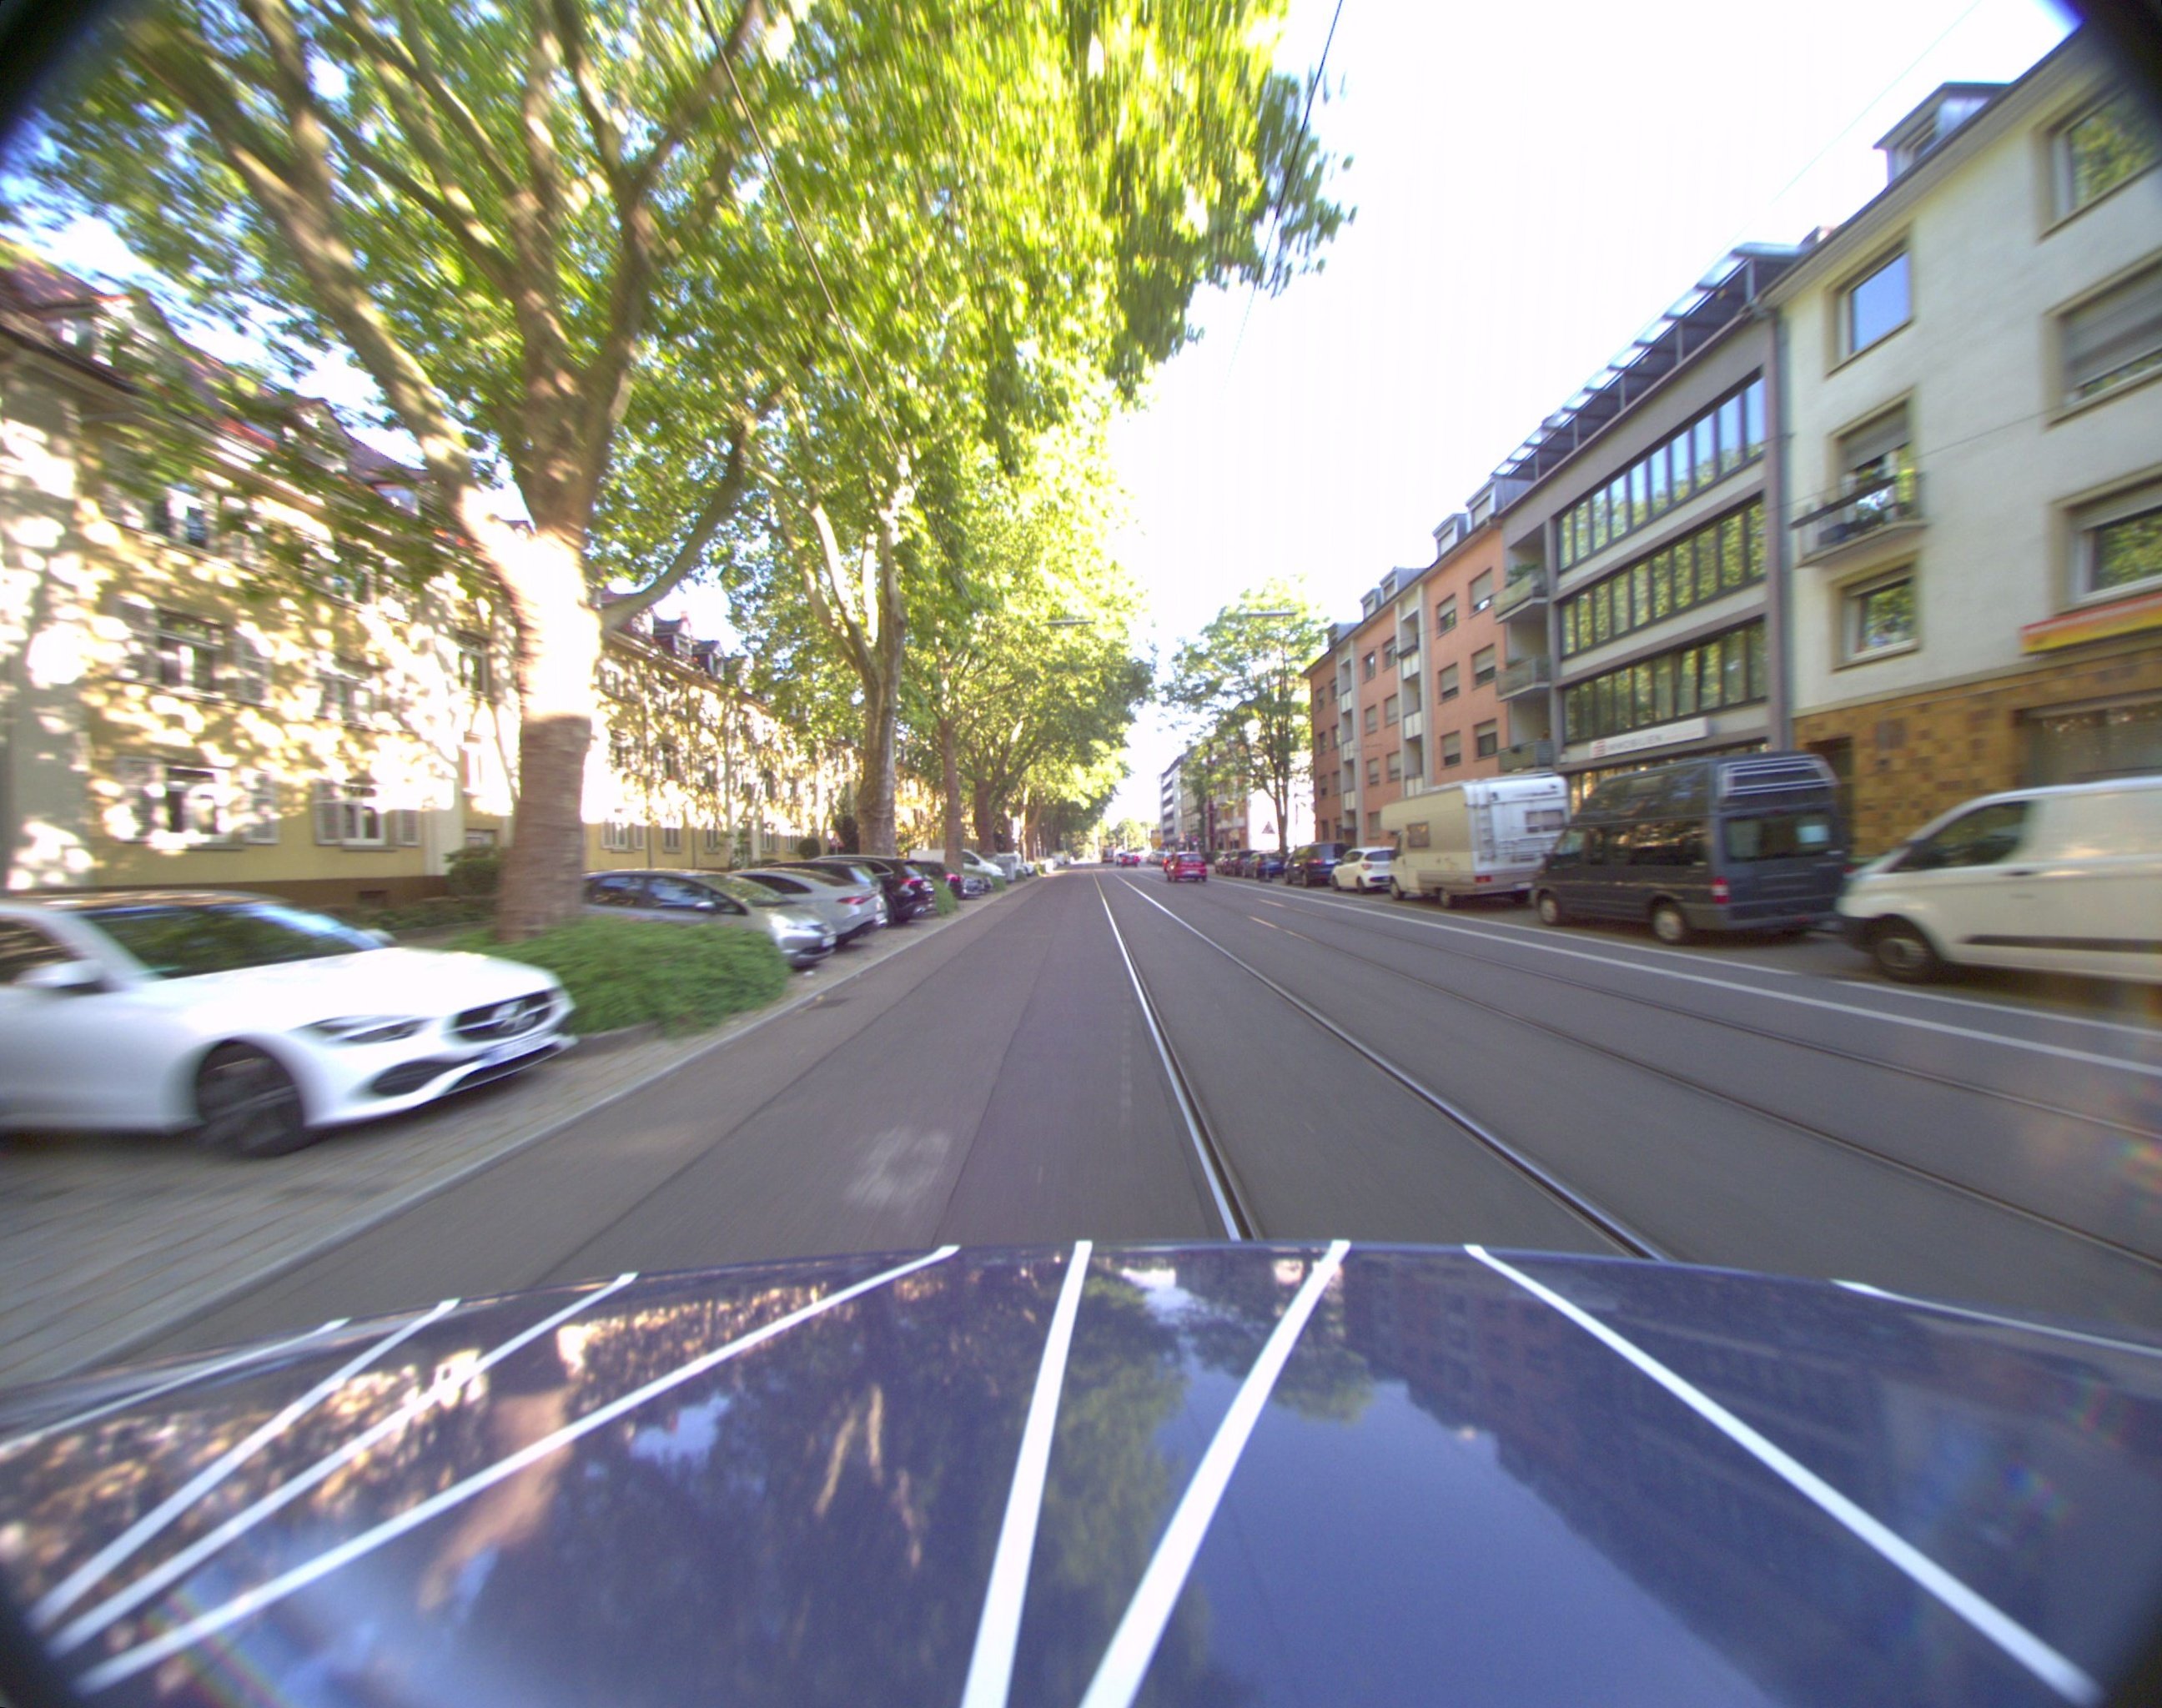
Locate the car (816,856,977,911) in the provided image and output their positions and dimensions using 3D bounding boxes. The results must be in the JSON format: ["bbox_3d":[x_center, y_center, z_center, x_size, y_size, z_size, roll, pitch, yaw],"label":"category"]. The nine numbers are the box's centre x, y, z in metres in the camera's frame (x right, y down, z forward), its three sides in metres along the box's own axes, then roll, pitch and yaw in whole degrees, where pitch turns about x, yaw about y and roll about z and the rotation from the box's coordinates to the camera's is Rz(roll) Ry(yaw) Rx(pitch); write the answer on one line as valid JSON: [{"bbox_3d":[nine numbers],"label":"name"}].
[{"bbox_3d":[-5.834,0.922,24.353,4.611,1.631,1.893,-1,0,3],"label":"car"}]

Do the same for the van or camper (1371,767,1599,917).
[{"bbox_3d":[9.721,-0.270,19.126,2.423,2.960,5.990,-6,0,1],"label":"van or camper"}]

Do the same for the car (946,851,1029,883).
[{"bbox_3d":[-5.491,0.747,44.969,4.611,1.781,1.893,-1,0,3],"label":"car"}]

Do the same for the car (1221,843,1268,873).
[{"bbox_3d":[9.830,0.213,46.010,1.791,1.660,4.434,-3,0,-1],"label":"car"}]

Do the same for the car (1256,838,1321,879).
[{"bbox_3d":[9.831,0.189,36.344,1.791,1.744,4.434,-3,1,-1],"label":"car"}]

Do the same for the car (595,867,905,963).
[{"bbox_3d":[-5.650,1.022,13.351,4.611,1.485,1.893,-1,0,3],"label":"car"}]

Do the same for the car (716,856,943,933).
[{"bbox_3d":[-5.727,0.904,17.693,4.611,1.631,1.893,-1,0,3],"label":"car"}]

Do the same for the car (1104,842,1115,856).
[{"bbox_3d":[5.753,-0.937,152.812,1.998,2.756,4.742,-2,1,1],"label":"car"}]

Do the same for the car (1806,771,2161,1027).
[{"bbox_3d":[9.508,0.309,6.433,1.928,2.034,4.940,-3,1,-1],"label":"car"}]

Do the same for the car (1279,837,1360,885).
[{"bbox_3d":[9.647,0.255,31.061,1.791,1.744,4.434,-3,1,-1],"label":"car"}]

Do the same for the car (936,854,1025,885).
[{"bbox_3d":[-5.592,0.852,42.631,4.611,1.631,1.893,-1,0,3],"label":"car"}]

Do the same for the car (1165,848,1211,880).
[{"bbox_3d":[5.322,0.463,38.191,1.769,1.448,3.585,-2,0,1],"label":"car"}]

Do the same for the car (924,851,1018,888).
[{"bbox_3d":[-5.762,0.811,40.149,4.611,1.781,1.893,-1,0,3],"label":"car"}]

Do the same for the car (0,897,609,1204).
[{"bbox_3d":[-5.973,1.106,4.975,4.611,1.485,1.893,-1,0,3],"label":"car"}]

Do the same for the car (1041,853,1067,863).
[{"bbox_3d":[-3.907,0.564,109.507,3.582,1.448,1.771,-1,0,3],"label":"car"}]

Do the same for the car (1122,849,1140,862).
[{"bbox_3d":[5.750,0.170,87.324,1.769,1.448,3.585,-2,0,1],"label":"car"}]

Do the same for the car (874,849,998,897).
[{"bbox_3d":[-5.829,0.760,30.889,4.611,1.781,1.893,-1,0,3],"label":"car"}]

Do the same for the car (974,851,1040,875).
[{"bbox_3d":[-5.545,0.650,57.260,4.611,1.705,1.893,-1,0,3],"label":"car"}]

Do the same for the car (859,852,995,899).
[{"bbox_3d":[-5.678,0.783,28.381,4.611,1.631,1.893,-1,0,3],"label":"car"}]

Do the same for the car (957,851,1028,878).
[{"bbox_3d":[-6.070,0.722,52.628,4.611,1.705,1.893,-1,0,3],"label":"car"}]

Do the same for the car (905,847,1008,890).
[{"bbox_3d":[-6.024,0.699,37.112,4.636,2.001,1.893,-1,0,3],"label":"car"}]

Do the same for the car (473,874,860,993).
[{"bbox_3d":[-5.832,1.099,11.080,4.611,1.485,1.893,-1,0,3],"label":"car"}]

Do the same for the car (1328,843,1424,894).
[{"bbox_3d":[9.780,0.429,25.504,1.791,1.506,3.473,-3,1,-1],"label":"car"}]

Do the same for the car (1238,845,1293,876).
[{"bbox_3d":[9.923,0.313,41.108,1.791,1.462,4.434,-3,0,-1],"label":"car"}]

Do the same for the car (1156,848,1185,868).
[{"bbox_3d":[6.809,0.285,58.083,1.769,1.448,3.585,-2,0,1],"label":"car"}]

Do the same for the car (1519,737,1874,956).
[{"bbox_3d":[9.502,-0.107,12.380,1.927,2.730,4.546,-6,1,1],"label":"car"}]

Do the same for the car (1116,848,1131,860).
[{"bbox_3d":[5.750,-0.008,103.316,1.769,1.448,3.585,-2,0,1],"label":"car"}]

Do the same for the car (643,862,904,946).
[{"bbox_3d":[-6.221,0.982,15.728,4.611,1.557,1.893,-1,0,3],"label":"car"}]

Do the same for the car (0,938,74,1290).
[{"bbox_3d":[-6.789,1.128,2.549,4.508,1.436,1.893,-1,0,3],"label":"car"}]

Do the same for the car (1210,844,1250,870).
[{"bbox_3d":[10.057,0.178,51.643,1.791,1.586,4.097,-3,1,-1],"label":"car"}]
